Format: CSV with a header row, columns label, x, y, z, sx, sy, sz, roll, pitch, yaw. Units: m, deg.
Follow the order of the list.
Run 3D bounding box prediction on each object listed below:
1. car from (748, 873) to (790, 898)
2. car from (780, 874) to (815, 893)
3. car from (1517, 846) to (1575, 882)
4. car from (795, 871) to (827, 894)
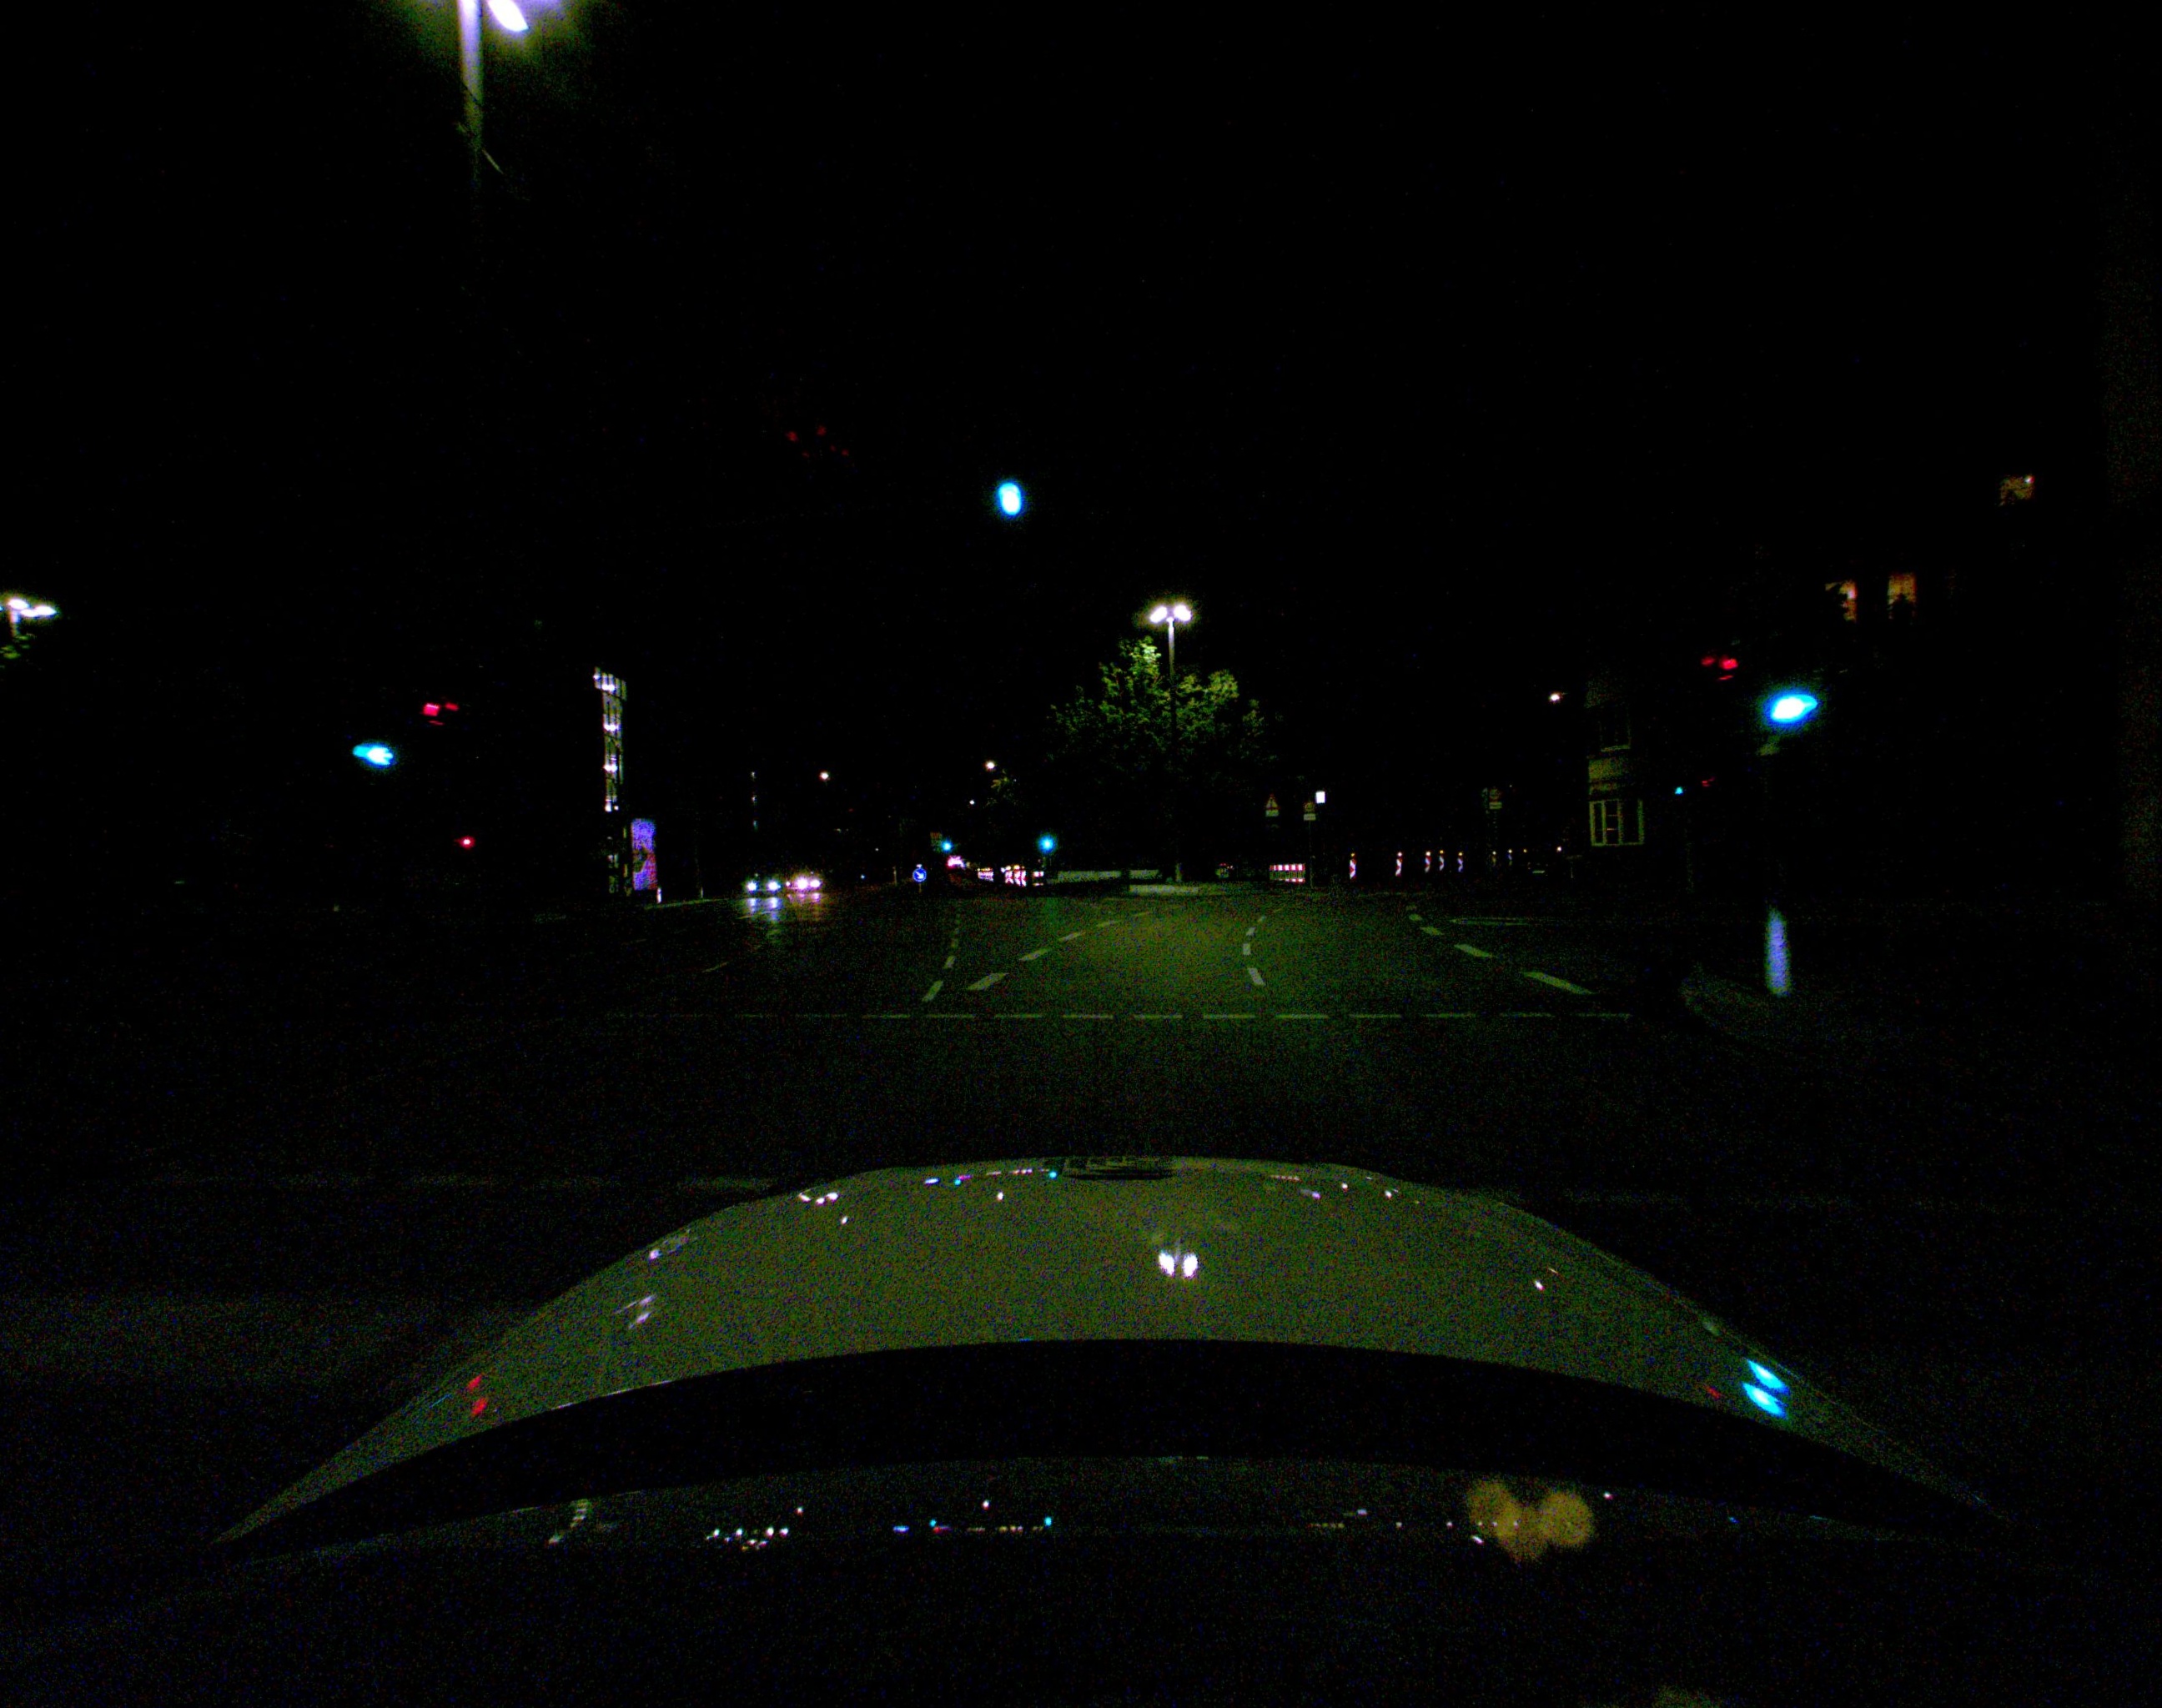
label,x,y,z,sx,sy,sz,roll,pitch,yaw
car,-20.224,2.006,52.972,1.614,1.515,3.989,-1,-1,-7
car,-20.981,2.160,60.389,1.757,1.322,3.537,-1,-1,-8
car,22.343,0.463,39.077,1.711,1.612,3.646,-3,-2,40
car,-21.762,2.285,65.697,1.757,1.728,3.537,-1,-1,-8
